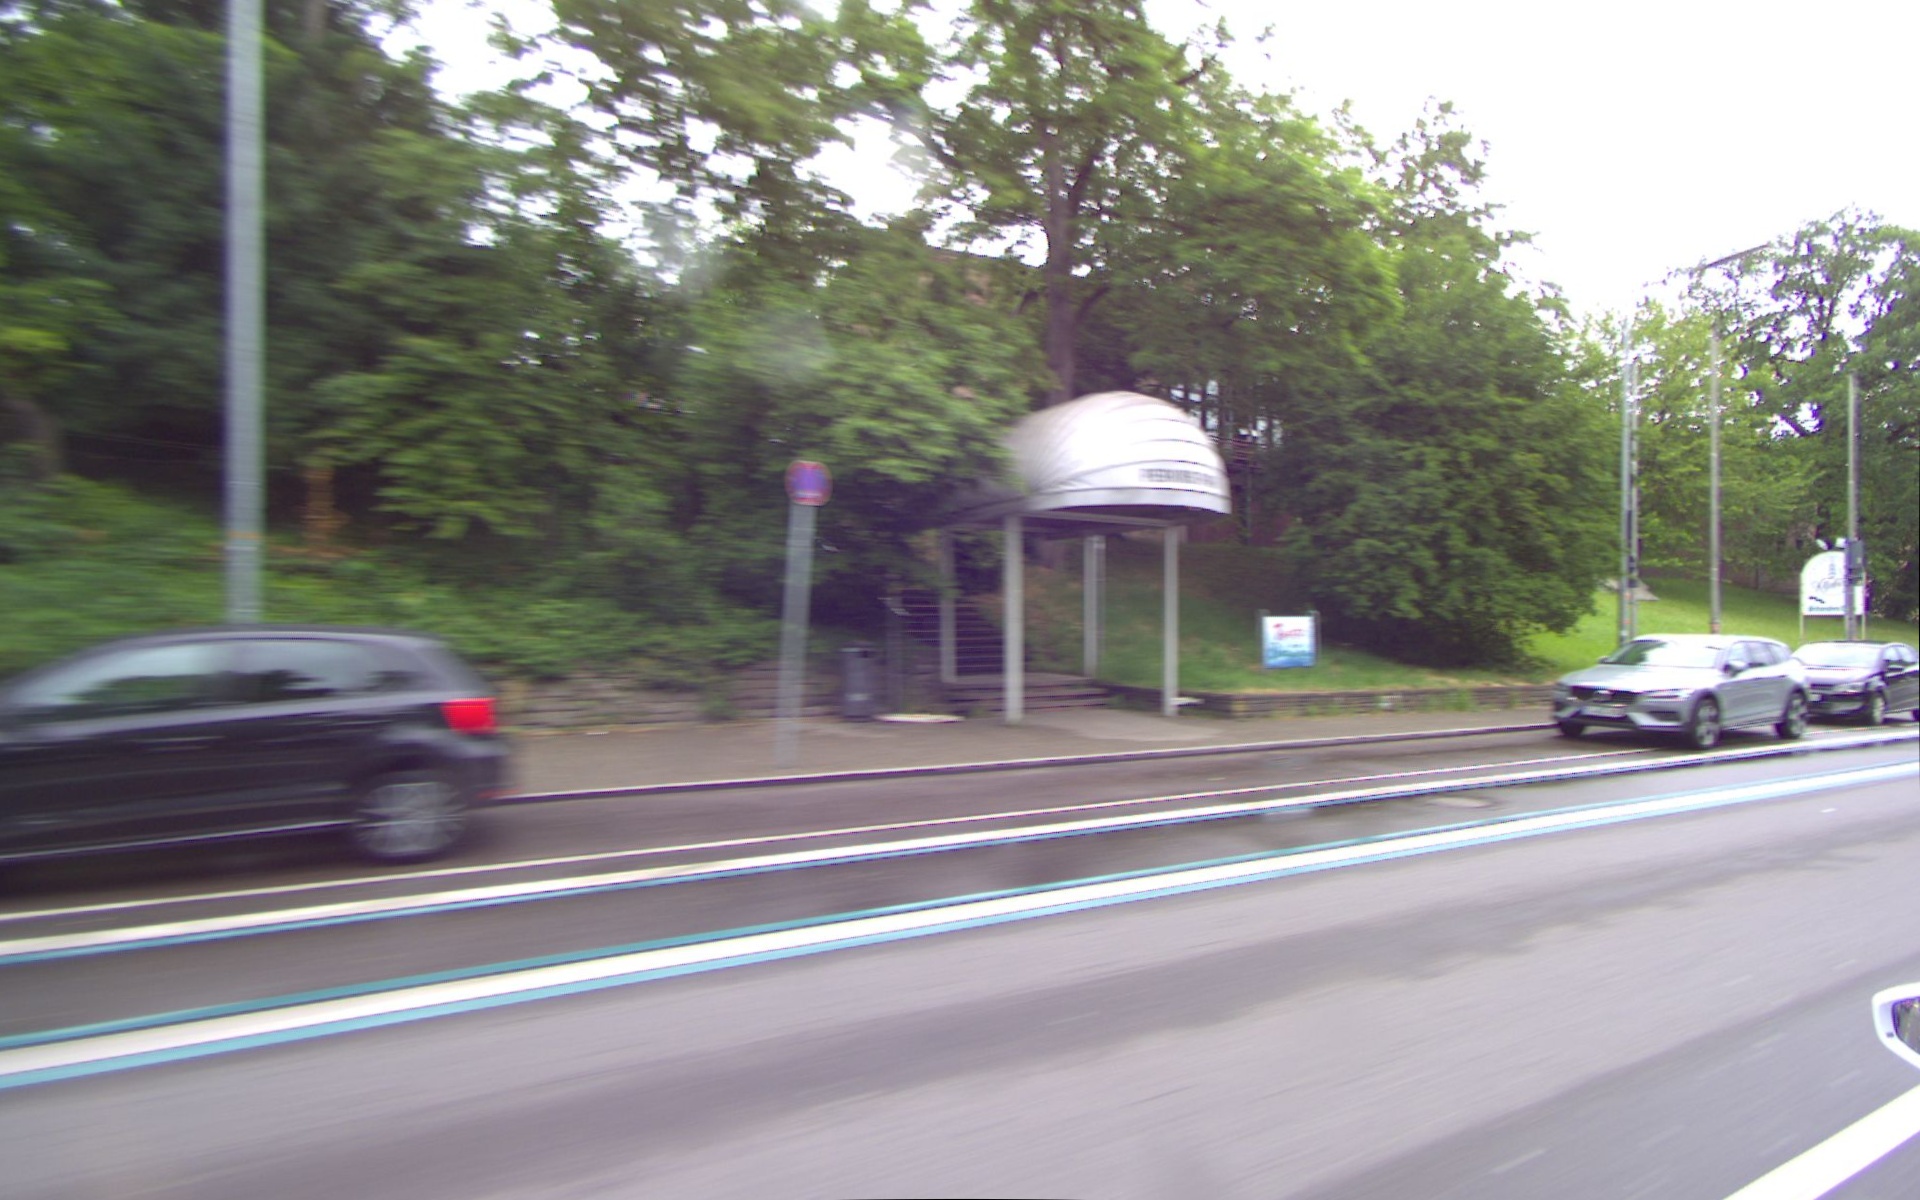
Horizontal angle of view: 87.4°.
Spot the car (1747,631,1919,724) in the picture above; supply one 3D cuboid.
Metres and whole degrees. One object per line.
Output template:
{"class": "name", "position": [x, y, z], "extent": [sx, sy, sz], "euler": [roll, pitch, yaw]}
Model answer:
{"class": "car", "position": [16.200, 1.329, 18.336], "extent": [4.010, 1.456, 1.686], "euler": [0, -1, -33]}

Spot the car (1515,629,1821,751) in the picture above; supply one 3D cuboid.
{"class": "car", "position": [10.498, 1.207, 14.822], "extent": [4.621, 1.502, 2.066], "euler": [1, -1, -32]}

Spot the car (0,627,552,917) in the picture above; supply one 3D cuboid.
{"class": "car", "position": [-4.783, 0.919, 6.274], "extent": [3.947, 1.477, 1.662], "euler": [1, -1, -31]}
